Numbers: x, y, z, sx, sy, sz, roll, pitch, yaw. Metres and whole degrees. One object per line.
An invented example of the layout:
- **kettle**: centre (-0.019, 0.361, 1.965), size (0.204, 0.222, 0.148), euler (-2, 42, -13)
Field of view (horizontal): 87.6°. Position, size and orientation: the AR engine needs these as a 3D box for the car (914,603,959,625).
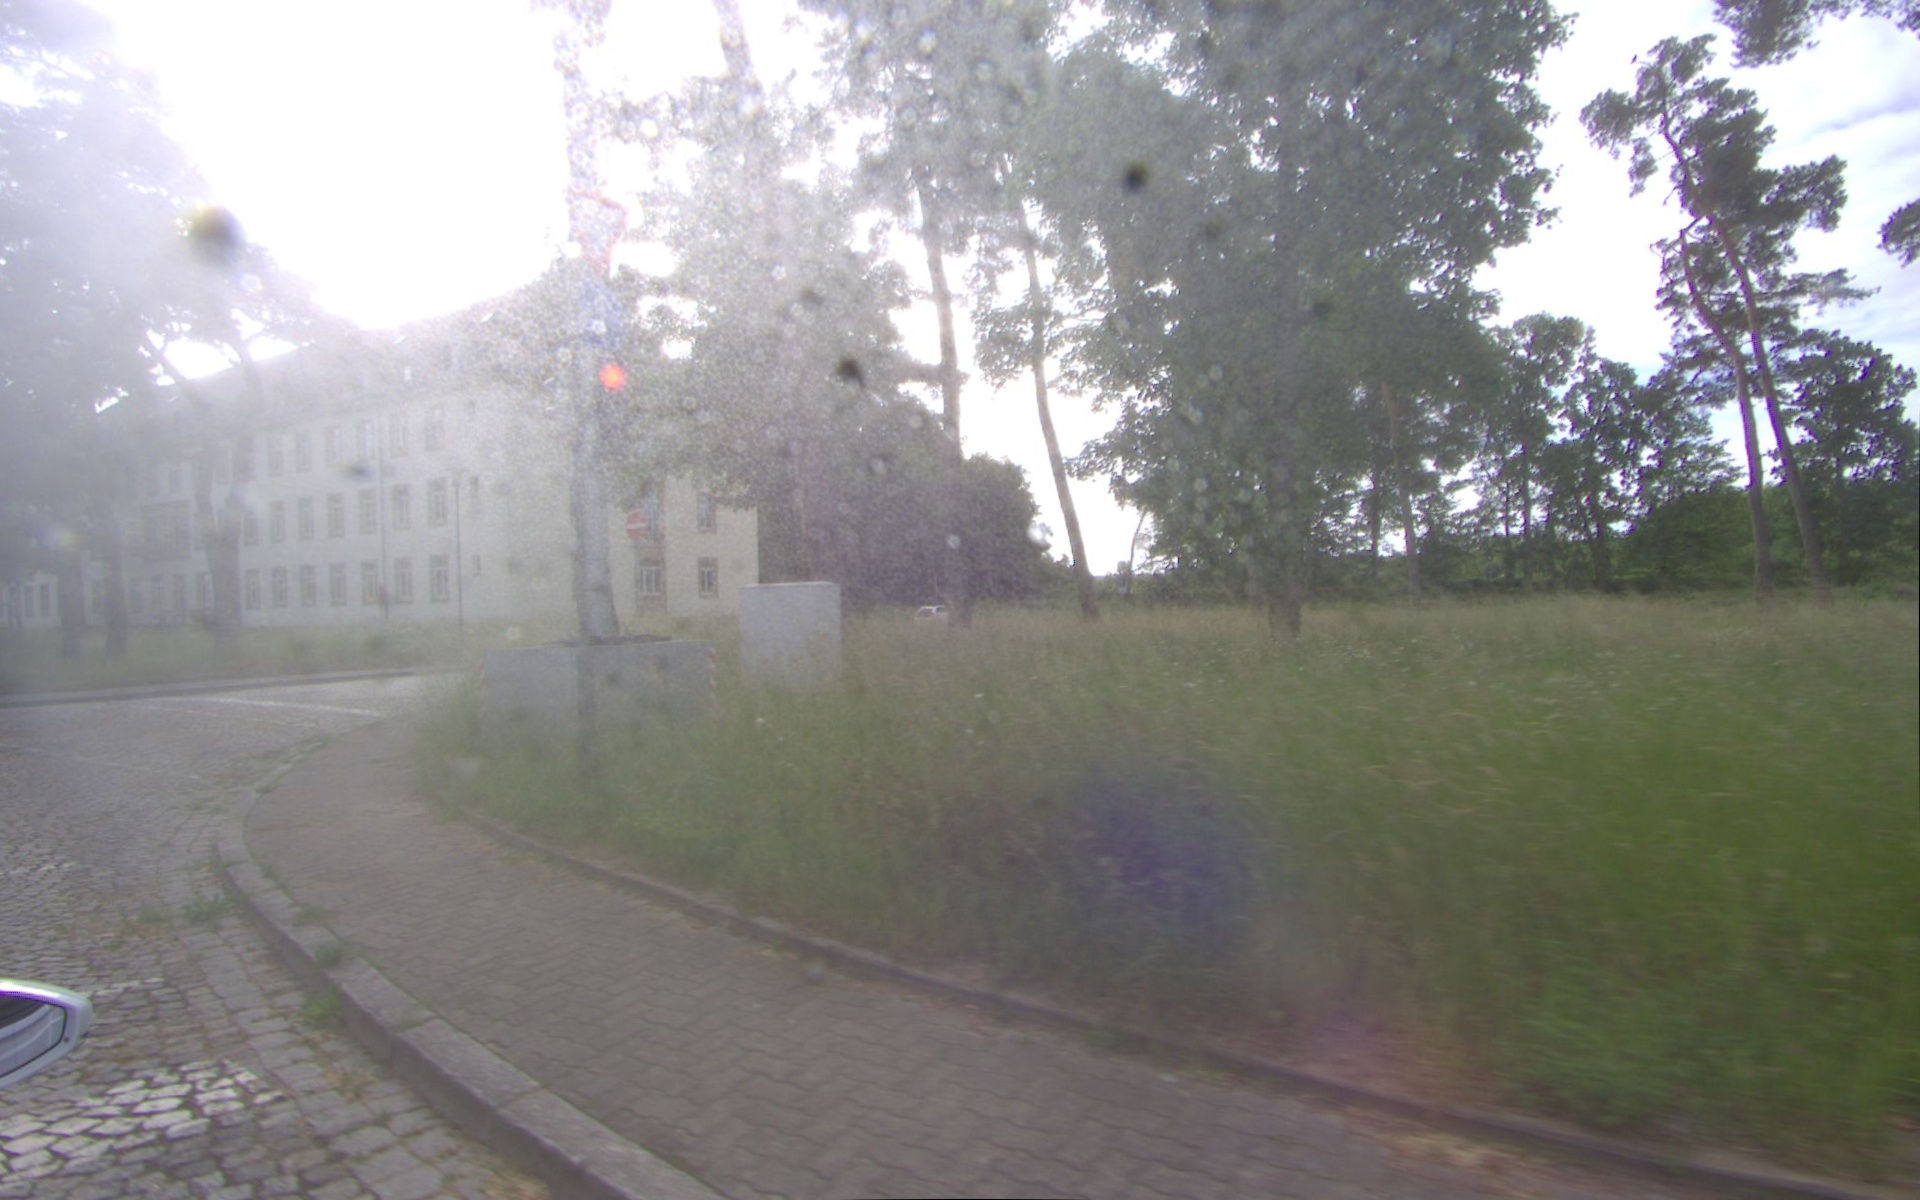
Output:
- **car**: centre (-1.533, 0.932, 66.436), size (1.467, 1.455, 3.179), euler (-1, -1, 31)
